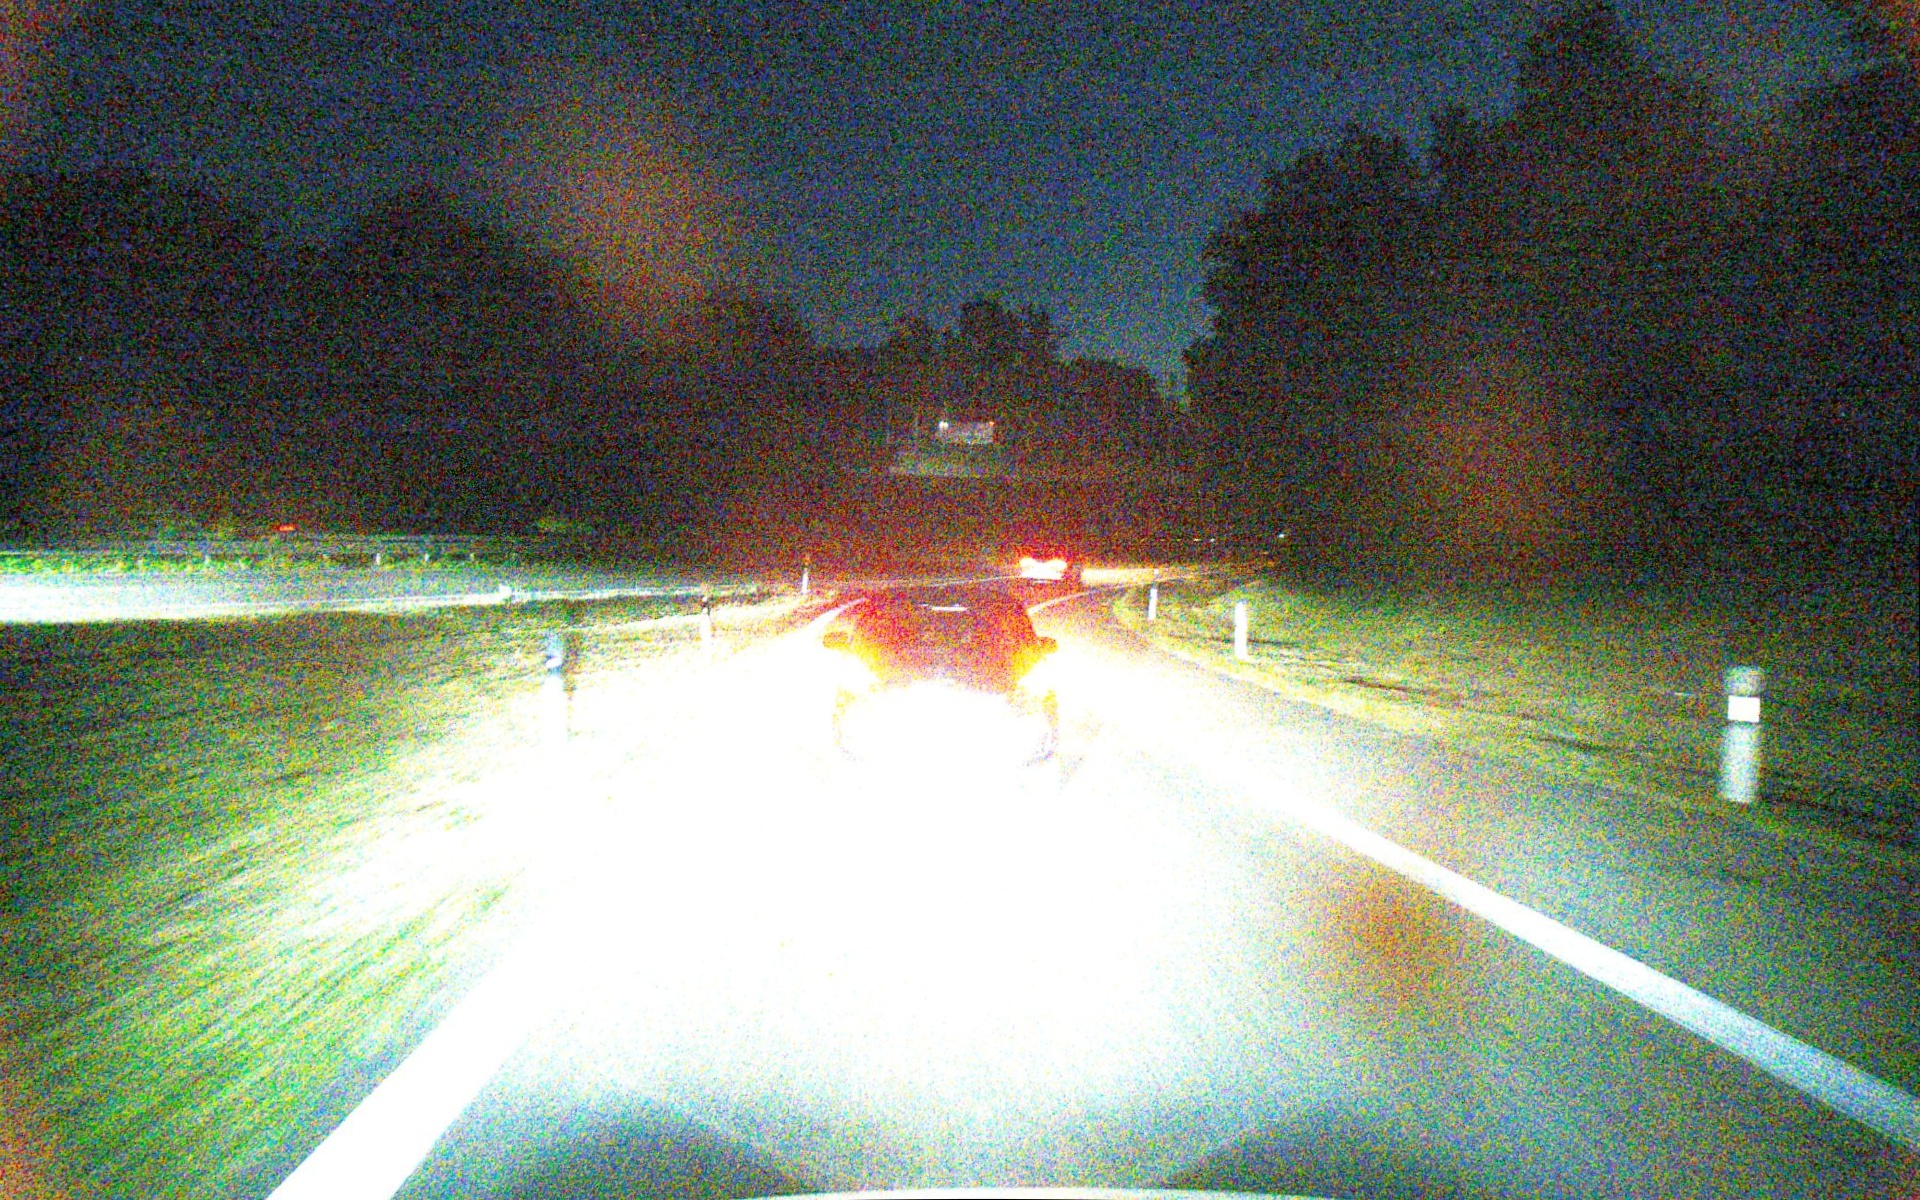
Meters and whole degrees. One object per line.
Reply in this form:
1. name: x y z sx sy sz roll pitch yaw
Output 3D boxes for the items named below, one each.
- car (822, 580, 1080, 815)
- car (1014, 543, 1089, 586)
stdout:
1. car: -0.064 0.609 12.761 1.657 1.503 4.000 1 1 0
2. car: 3.563 -1.332 63.684 1.910 1.565 4.243 0 0 17
